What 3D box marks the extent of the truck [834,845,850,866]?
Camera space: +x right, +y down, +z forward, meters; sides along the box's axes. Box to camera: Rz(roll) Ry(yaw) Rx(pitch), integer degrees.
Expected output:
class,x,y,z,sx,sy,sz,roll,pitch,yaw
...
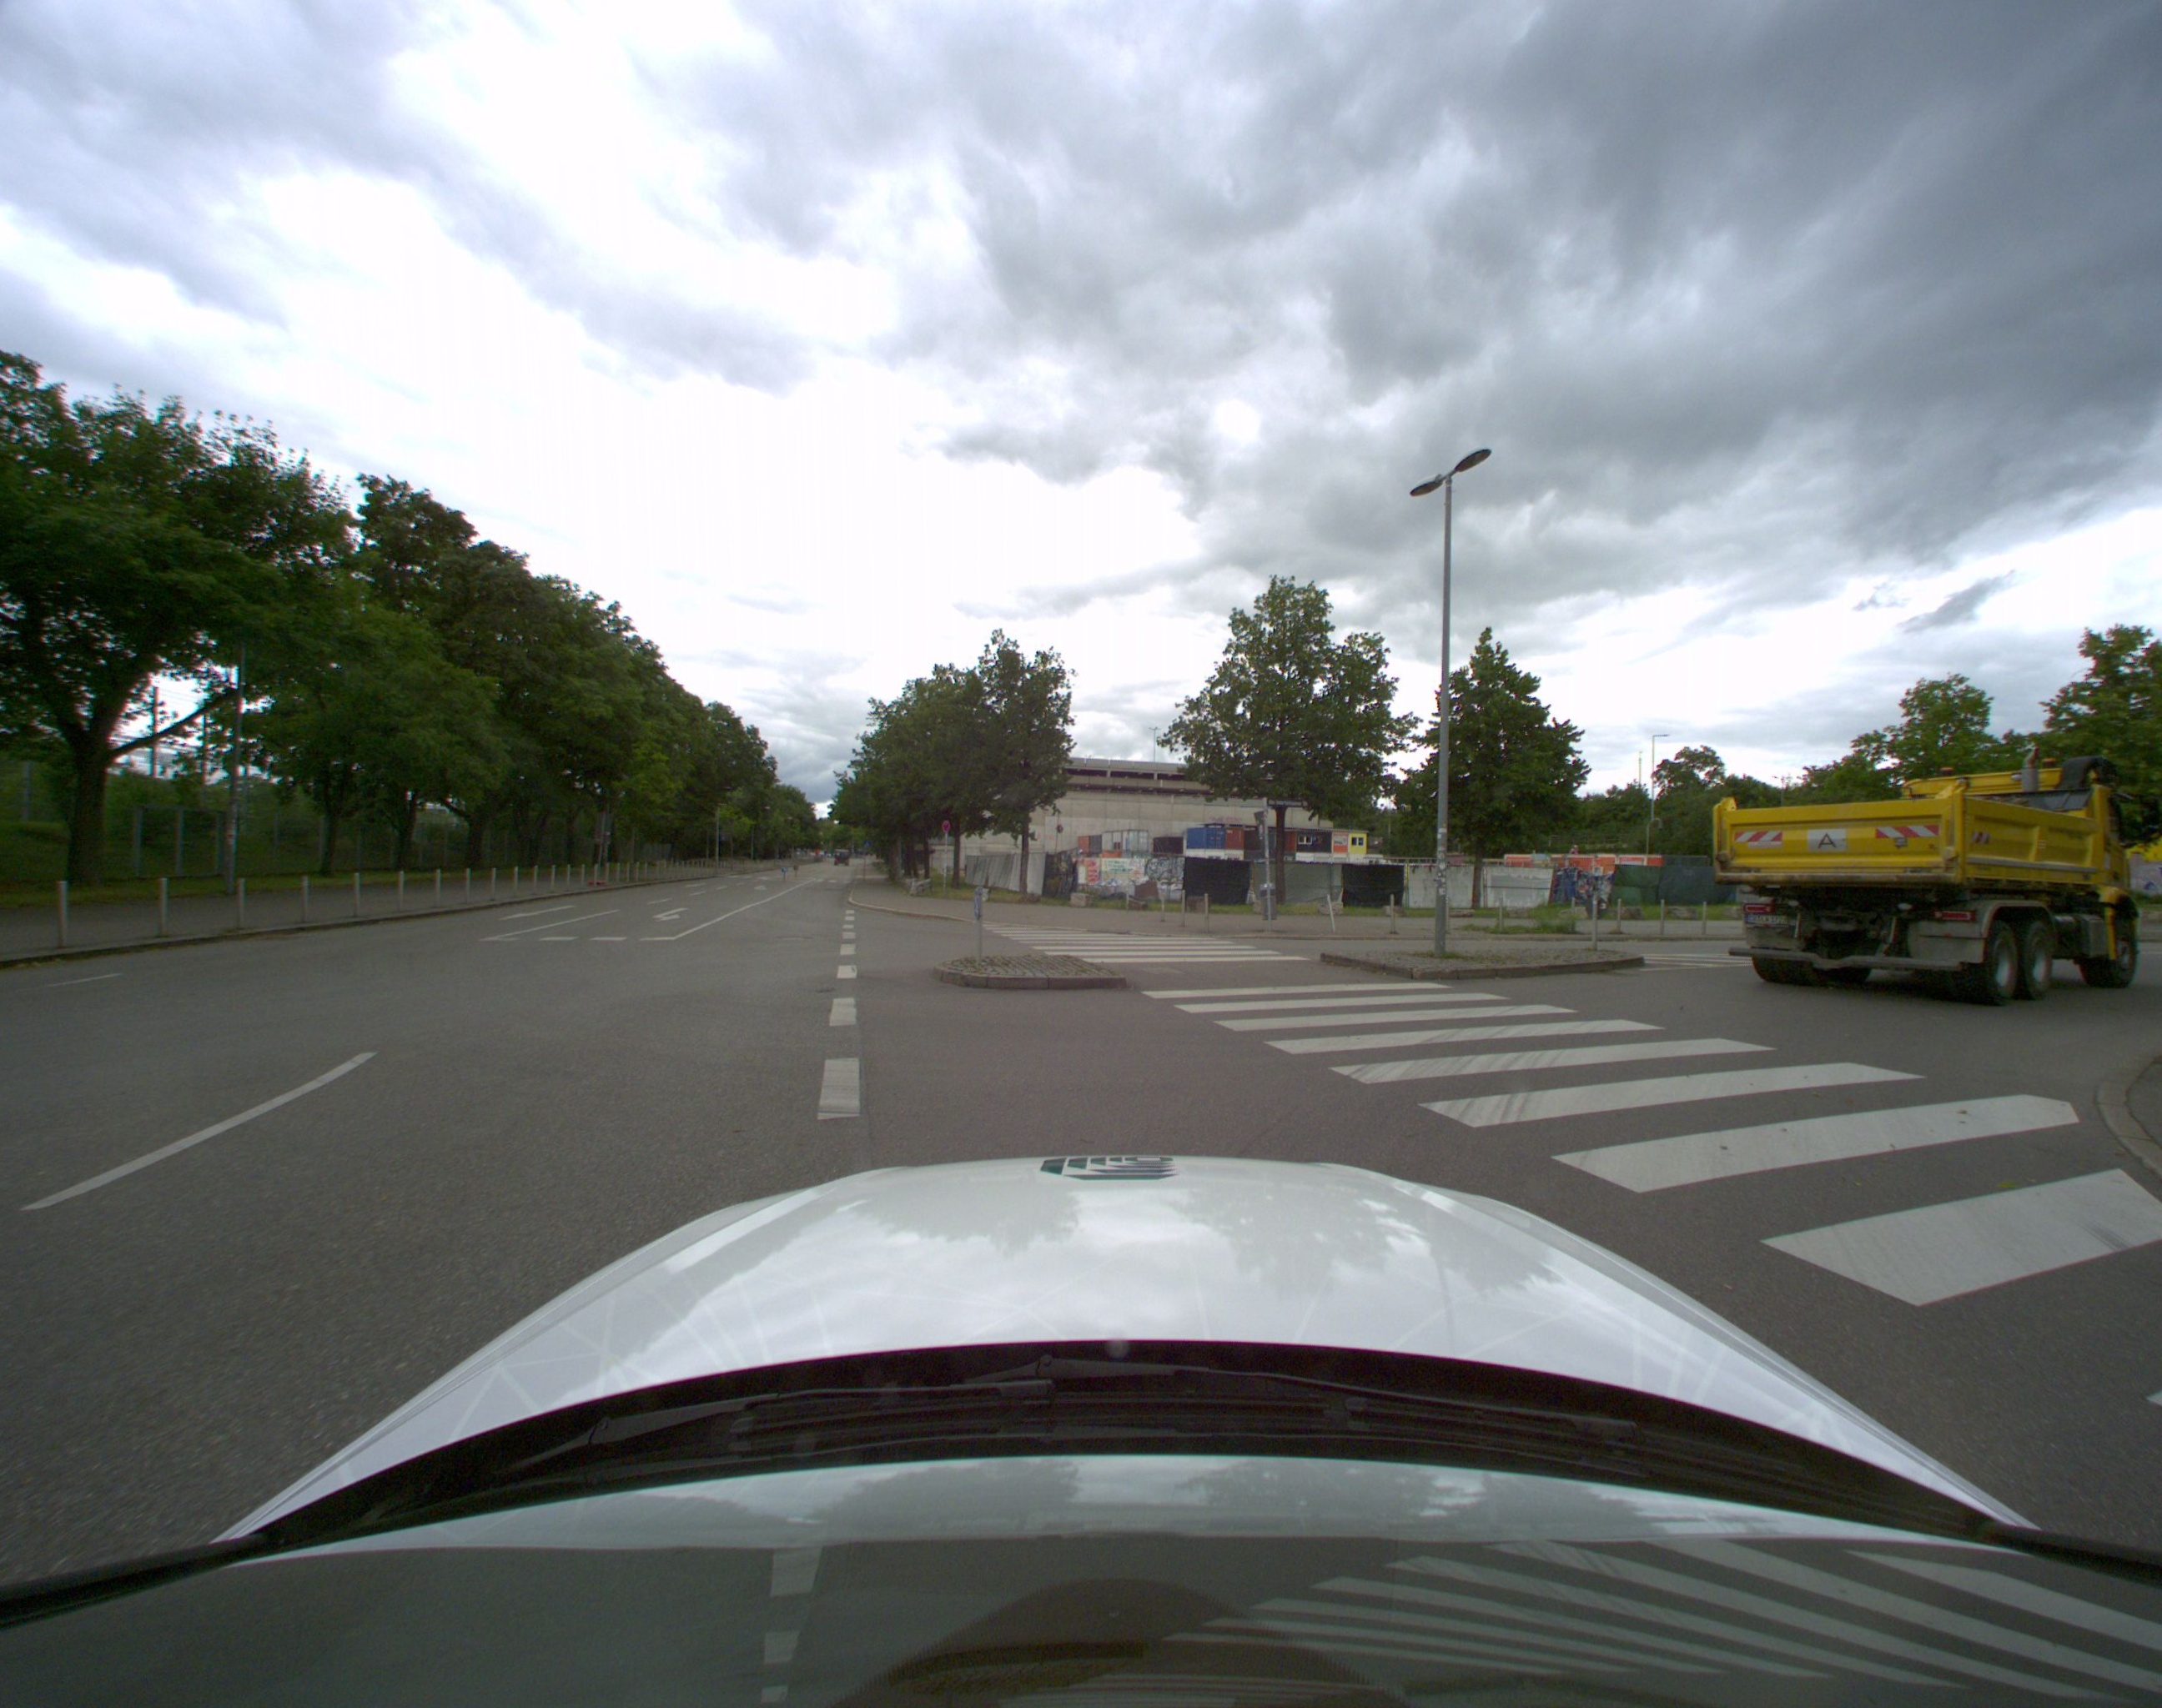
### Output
class,x,y,z,sx,sy,sz,roll,pitch,yaw
truck,-43.207,0.337,147.321,2.678,3.558,7.880,-1,-1,-16

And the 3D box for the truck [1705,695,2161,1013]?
class,x,y,z,sx,sy,sz,roll,pitch,yaw
truck,13.251,0.089,12.488,7.896,3.699,2.743,1,-2,-27
